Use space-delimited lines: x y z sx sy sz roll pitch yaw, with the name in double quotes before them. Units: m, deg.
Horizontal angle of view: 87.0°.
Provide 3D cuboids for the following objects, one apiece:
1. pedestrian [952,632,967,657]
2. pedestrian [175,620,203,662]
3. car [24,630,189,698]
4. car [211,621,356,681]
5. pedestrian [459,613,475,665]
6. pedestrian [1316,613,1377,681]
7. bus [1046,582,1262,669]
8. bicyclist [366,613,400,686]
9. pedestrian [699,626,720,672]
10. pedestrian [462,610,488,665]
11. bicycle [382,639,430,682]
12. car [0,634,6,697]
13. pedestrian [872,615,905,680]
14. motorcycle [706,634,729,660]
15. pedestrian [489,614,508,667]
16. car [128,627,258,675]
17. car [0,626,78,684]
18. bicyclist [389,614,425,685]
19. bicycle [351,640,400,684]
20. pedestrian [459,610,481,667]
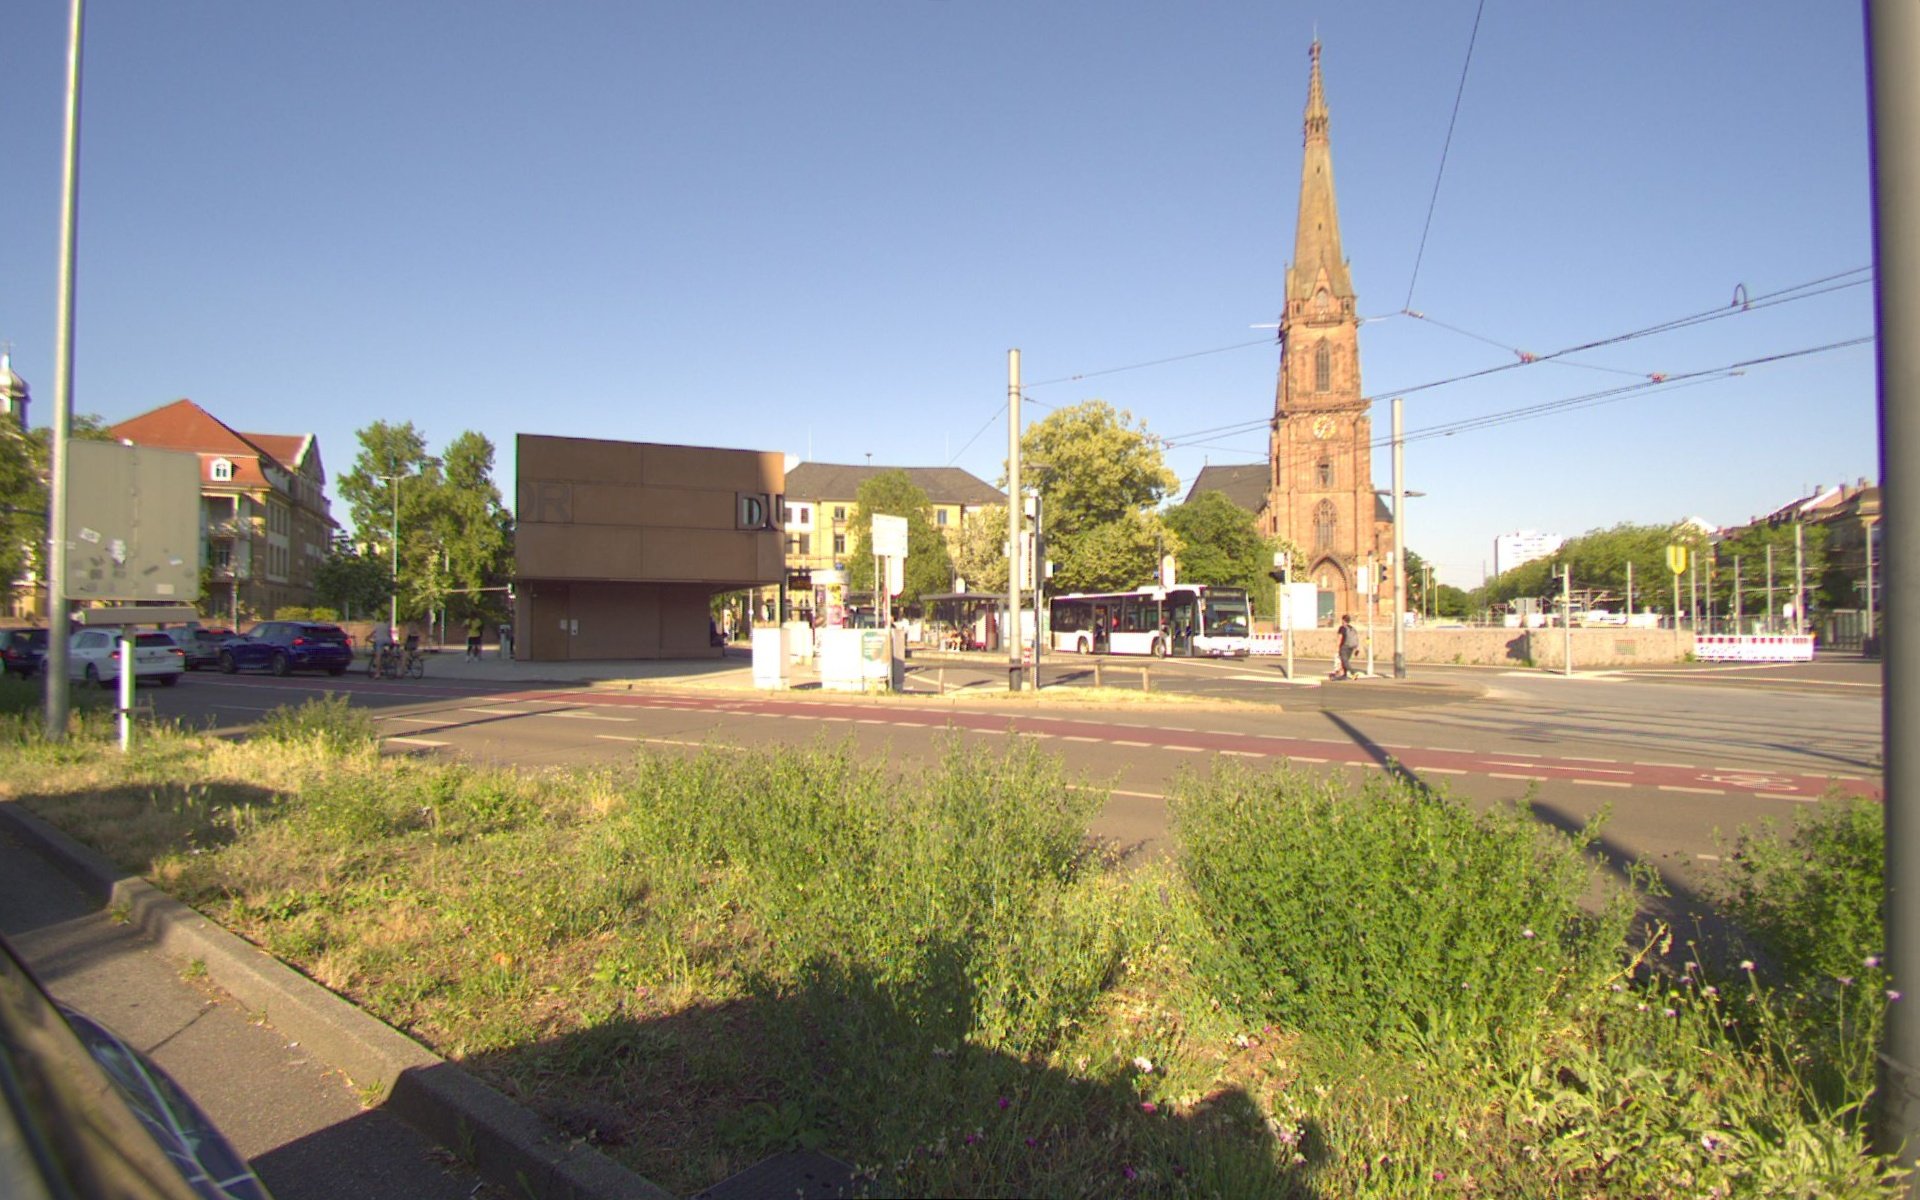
"pedestrian" -0.027 2.194 49.919 0.531 1.196 0.660 -1 0 -21
"pedestrian" -35.628 1.895 46.772 0.787 1.911 0.612 0 -2 -9
"car" -21.513 1.547 25.484 4.375 1.503 1.831 -1 0 30
"car" -20.115 1.471 30.087 4.166 1.703 1.741 -1 -1 26
"pedestrian" -19.264 1.517 39.564 0.460 2.029 0.658 -1 0 -32
"pedestrian" 9.925 1.182 25.996 1.025 1.696 1.007 -1 0 -25
"bus" 7.749 0.967 43.299 2.655 3.174 12.216 -1 0 -23
"bicyclist" -16.260 1.397 28.529 0.562 2.029 0.605 -1 -2 25
"pedestrian" -11.201 2.194 45.328 0.762 2.029 0.778 -1 0 -2
"pedestrian" -18.433 1.412 38.449 0.765 2.029 0.775 -1 0 -37
"bicycle" -15.992 1.738 29.205 1.388 1.201 0.461 -1 0 24
"car" -24.779 1.567 23.956 4.163 1.471 1.742 -1 0 24
"pedestrian" -1.979 1.305 28.029 0.702 1.771 0.584 -1 0 -30
"motorcycle" -10.080 1.956 42.085 0.935 1.075 0.331 -1 0 -11
"pedestrian" -18.082 1.580 39.650 0.645 2.029 0.470 -1 0 -29
"car" -25.212 1.659 33.262 4.375 1.503 1.831 -1 -4 30
"car" -26.614 1.522 28.874 4.188 1.471 1.732 -1 0 42
"bicyclist" -15.930 1.423 29.166 0.705 2.029 0.605 -1 -2 25
"bicycle" -16.553 1.746 28.635 1.388 1.201 0.461 -1 0 24
"pedestrian" -17.611 1.370 36.372 0.645 2.029 0.470 -1 0 -29
